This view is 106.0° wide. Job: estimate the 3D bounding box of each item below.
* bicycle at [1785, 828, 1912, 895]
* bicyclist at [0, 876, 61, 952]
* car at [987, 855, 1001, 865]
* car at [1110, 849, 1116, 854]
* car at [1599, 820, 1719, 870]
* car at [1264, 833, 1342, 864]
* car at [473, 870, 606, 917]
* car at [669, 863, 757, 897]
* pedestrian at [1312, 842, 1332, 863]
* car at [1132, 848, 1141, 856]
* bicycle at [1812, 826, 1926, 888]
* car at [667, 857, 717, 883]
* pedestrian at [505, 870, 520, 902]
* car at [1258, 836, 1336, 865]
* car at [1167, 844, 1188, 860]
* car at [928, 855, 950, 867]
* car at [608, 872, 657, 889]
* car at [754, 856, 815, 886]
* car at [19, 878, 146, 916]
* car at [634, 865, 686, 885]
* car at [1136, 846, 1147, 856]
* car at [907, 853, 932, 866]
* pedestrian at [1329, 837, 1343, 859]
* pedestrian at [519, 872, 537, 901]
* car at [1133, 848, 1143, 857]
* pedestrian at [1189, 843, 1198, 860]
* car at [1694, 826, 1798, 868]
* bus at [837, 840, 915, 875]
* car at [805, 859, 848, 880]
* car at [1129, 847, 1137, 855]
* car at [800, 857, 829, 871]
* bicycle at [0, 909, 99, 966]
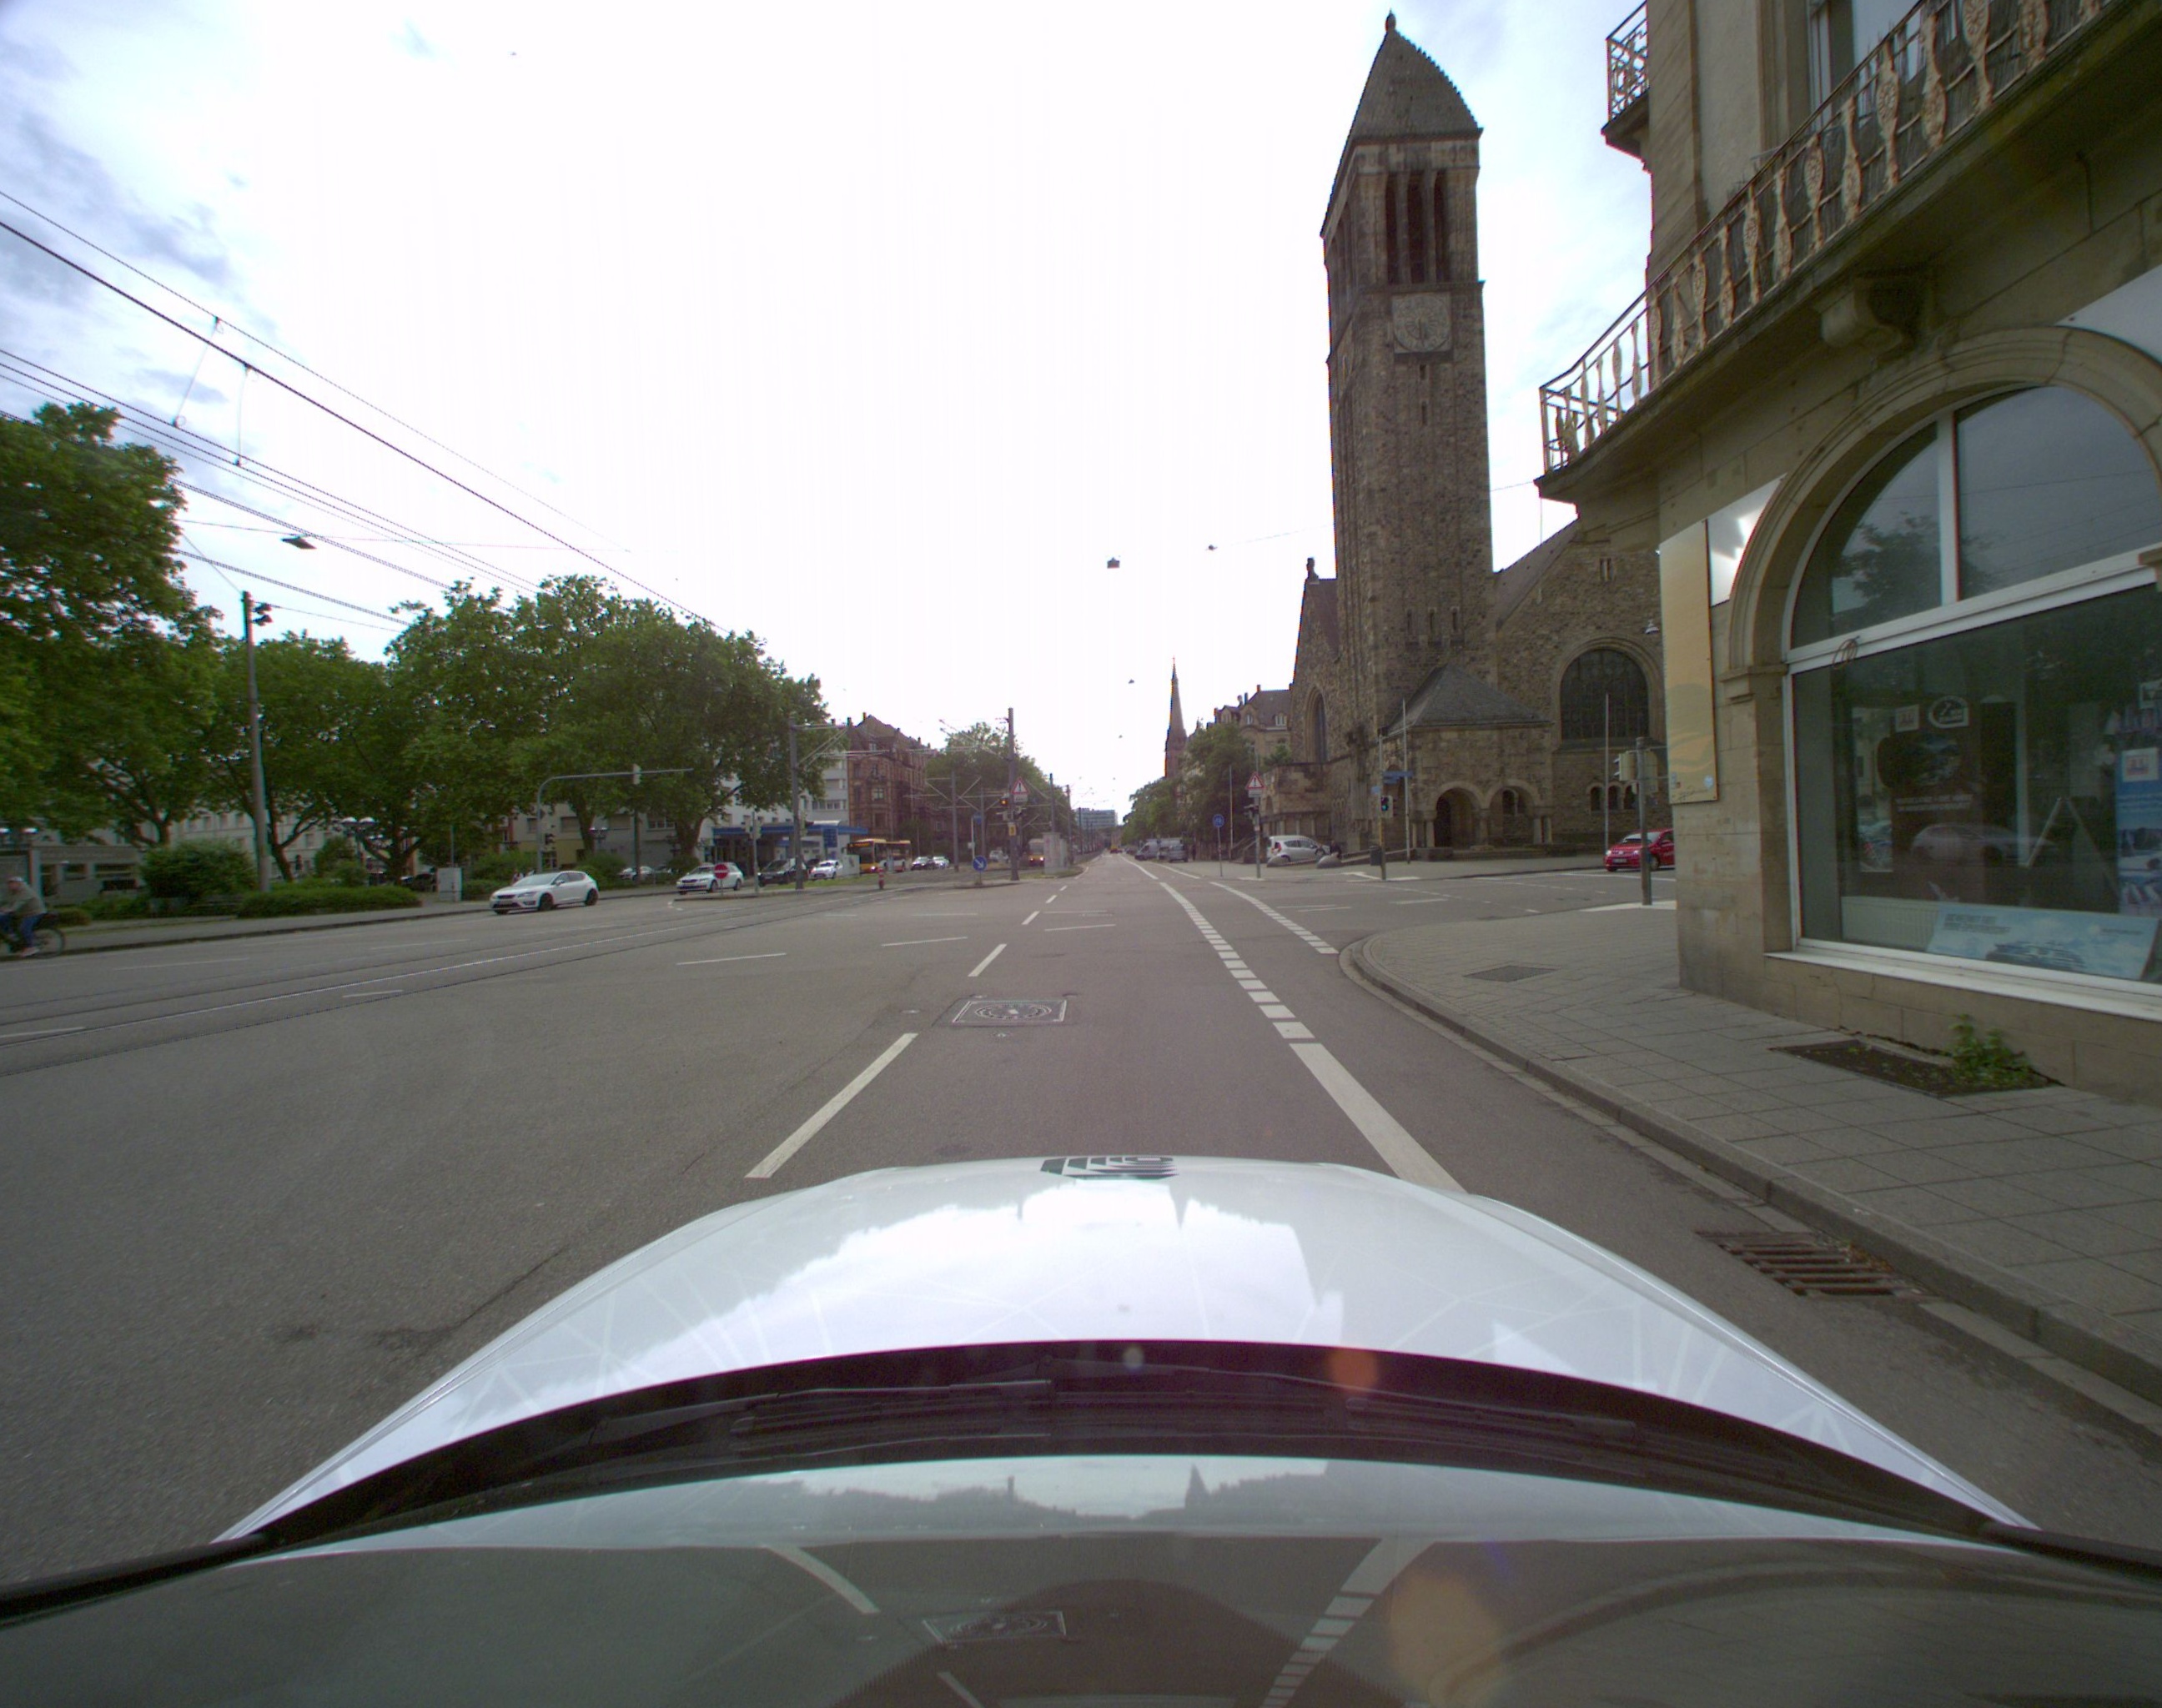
[{"bbox_3d":[13.896,0.153,14.802,0.477,1.127,1.560,-1,-3,-23],"label":"bicycle"},{"bbox_3d":[-23.006,1.295,17.702,0.581,1.562,0.757,-4,0,2],"label":"bicyclist"},{"bbox_3d":[-14.357,0.977,134.881,1.695,1.712,3.893,-1,0,3],"label":"car"},{"bbox_3d":[10.407,-0.749,262.479,1.798,1.341,4.001,-2,0,1],"label":"car"},{"bbox_3d":[20.720,-0.319,29.199,3.898,1.528,1.641,-3,-1,-23],"label":"car"},{"bbox_3d":[14.360,-0.361,52.855,4.593,1.881,1.663,-1,0,1],"label":"car"},{"bbox_3d":[-19.953,1.410,30.276,1.835,1.448,4.416,-1,0,2],"label":"car"},{"bbox_3d":[-19.168,1.323,42.776,1.834,1.525,5.706,-1,0,2],"label":"car"},{"bbox_3d":[13.522,-0.093,45.751,0.734,1.191,1.494,-1,0,2],"label":"pedestrian"},{"bbox_3d":[13.227,-0.573,195.600,1.986,1.925,4.001,-1,0,1],"label":"car"},{"bbox_3d":[16.078,0.088,16.663,0.477,1.172,1.560,-1,-3,-23],"label":"bicycle"},{"bbox_3d":[-32.090,1.293,67.306,1.986,2.013,4.002,-2,0,2],"label":"car"},{"bbox_3d":[-26.510,1.490,37.971,0.360,1.478,0.373,-2,0,-4],"label":"pedestrian"},{"bbox_3d":[13.099,-0.217,49.484,4.332,1.636,1.663,-1,0,1],"label":"car"},{"bbox_3d":[8.874,-0.193,75.033,1.695,1.459,3.893,-1,0,3],"label":"car"},{"bbox_3d":[-16.559,0.806,95.066,1.695,1.221,3.893,-1,0,3],"label":"car"},{"bbox_3d":[-37.411,2.175,68.078,1.721,1.174,4.011,-2,0,2],"label":"car"},{"bbox_3d":[-18.675,1.026,51.526,1.695,1.783,5.153,-1,0,3],"label":"car"},{"bbox_3d":[-64.700,2.777,52.862,4.825,2.101,2.073,-2,0,-15],"label":"car"},{"bbox_3d":[-34.866,1.696,67.559,1.986,1.466,4.002,-2,0,2],"label":"car"},{"bbox_3d":[11.647,-0.653,157.207,1.986,1.881,4.002,-2,0,2],"label":"car"},{"bbox_3d":[-17.376,0.581,87.858,1.695,1.358,3.893,-1,0,3],"label":"car"},{"bbox_3d":[14.446,-0.336,46.173,0.731,1.228,1.067,-1,0,17],"label":"pedestrian"},{"bbox_3d":[-25.896,1.517,38.132,0.454,1.326,0.469,-2,0,-4],"label":"pedestrian"},{"bbox_3d":[12.272,-0.346,175.670,1.986,2.013,4.001,-1,0,1],"label":"car"},{"bbox_3d":[10.919,-0.225,78.989,0.772,1.647,0.800,-1,0,8],"label":"pedestrian"},{"bbox_3d":[25.942,-0.282,31.771,3.723,1.457,1.594,-2,-2,-24],"label":"car"},{"bbox_3d":[-18.312,0.215,73.882,3.268,2.856,12.390,-1,0,3],"label":"bus"},{"bbox_3d":[-18.546,1.090,59.558,1.695,1.398,3.893,-1,0,3],"label":"car"},{"bbox_3d":[12.961,-0.694,203.082,1.986,2.013,4.001,-1,0,1],"label":"car"},{"bbox_3d":[-27.904,0.998,85.422,1.695,1.358,3.406,-1,0,3],"label":"car"},{"bbox_3d":[-22.931,1.821,17.665,0.724,1.064,1.994,-4,0,2],"label":"bicycle"}]
